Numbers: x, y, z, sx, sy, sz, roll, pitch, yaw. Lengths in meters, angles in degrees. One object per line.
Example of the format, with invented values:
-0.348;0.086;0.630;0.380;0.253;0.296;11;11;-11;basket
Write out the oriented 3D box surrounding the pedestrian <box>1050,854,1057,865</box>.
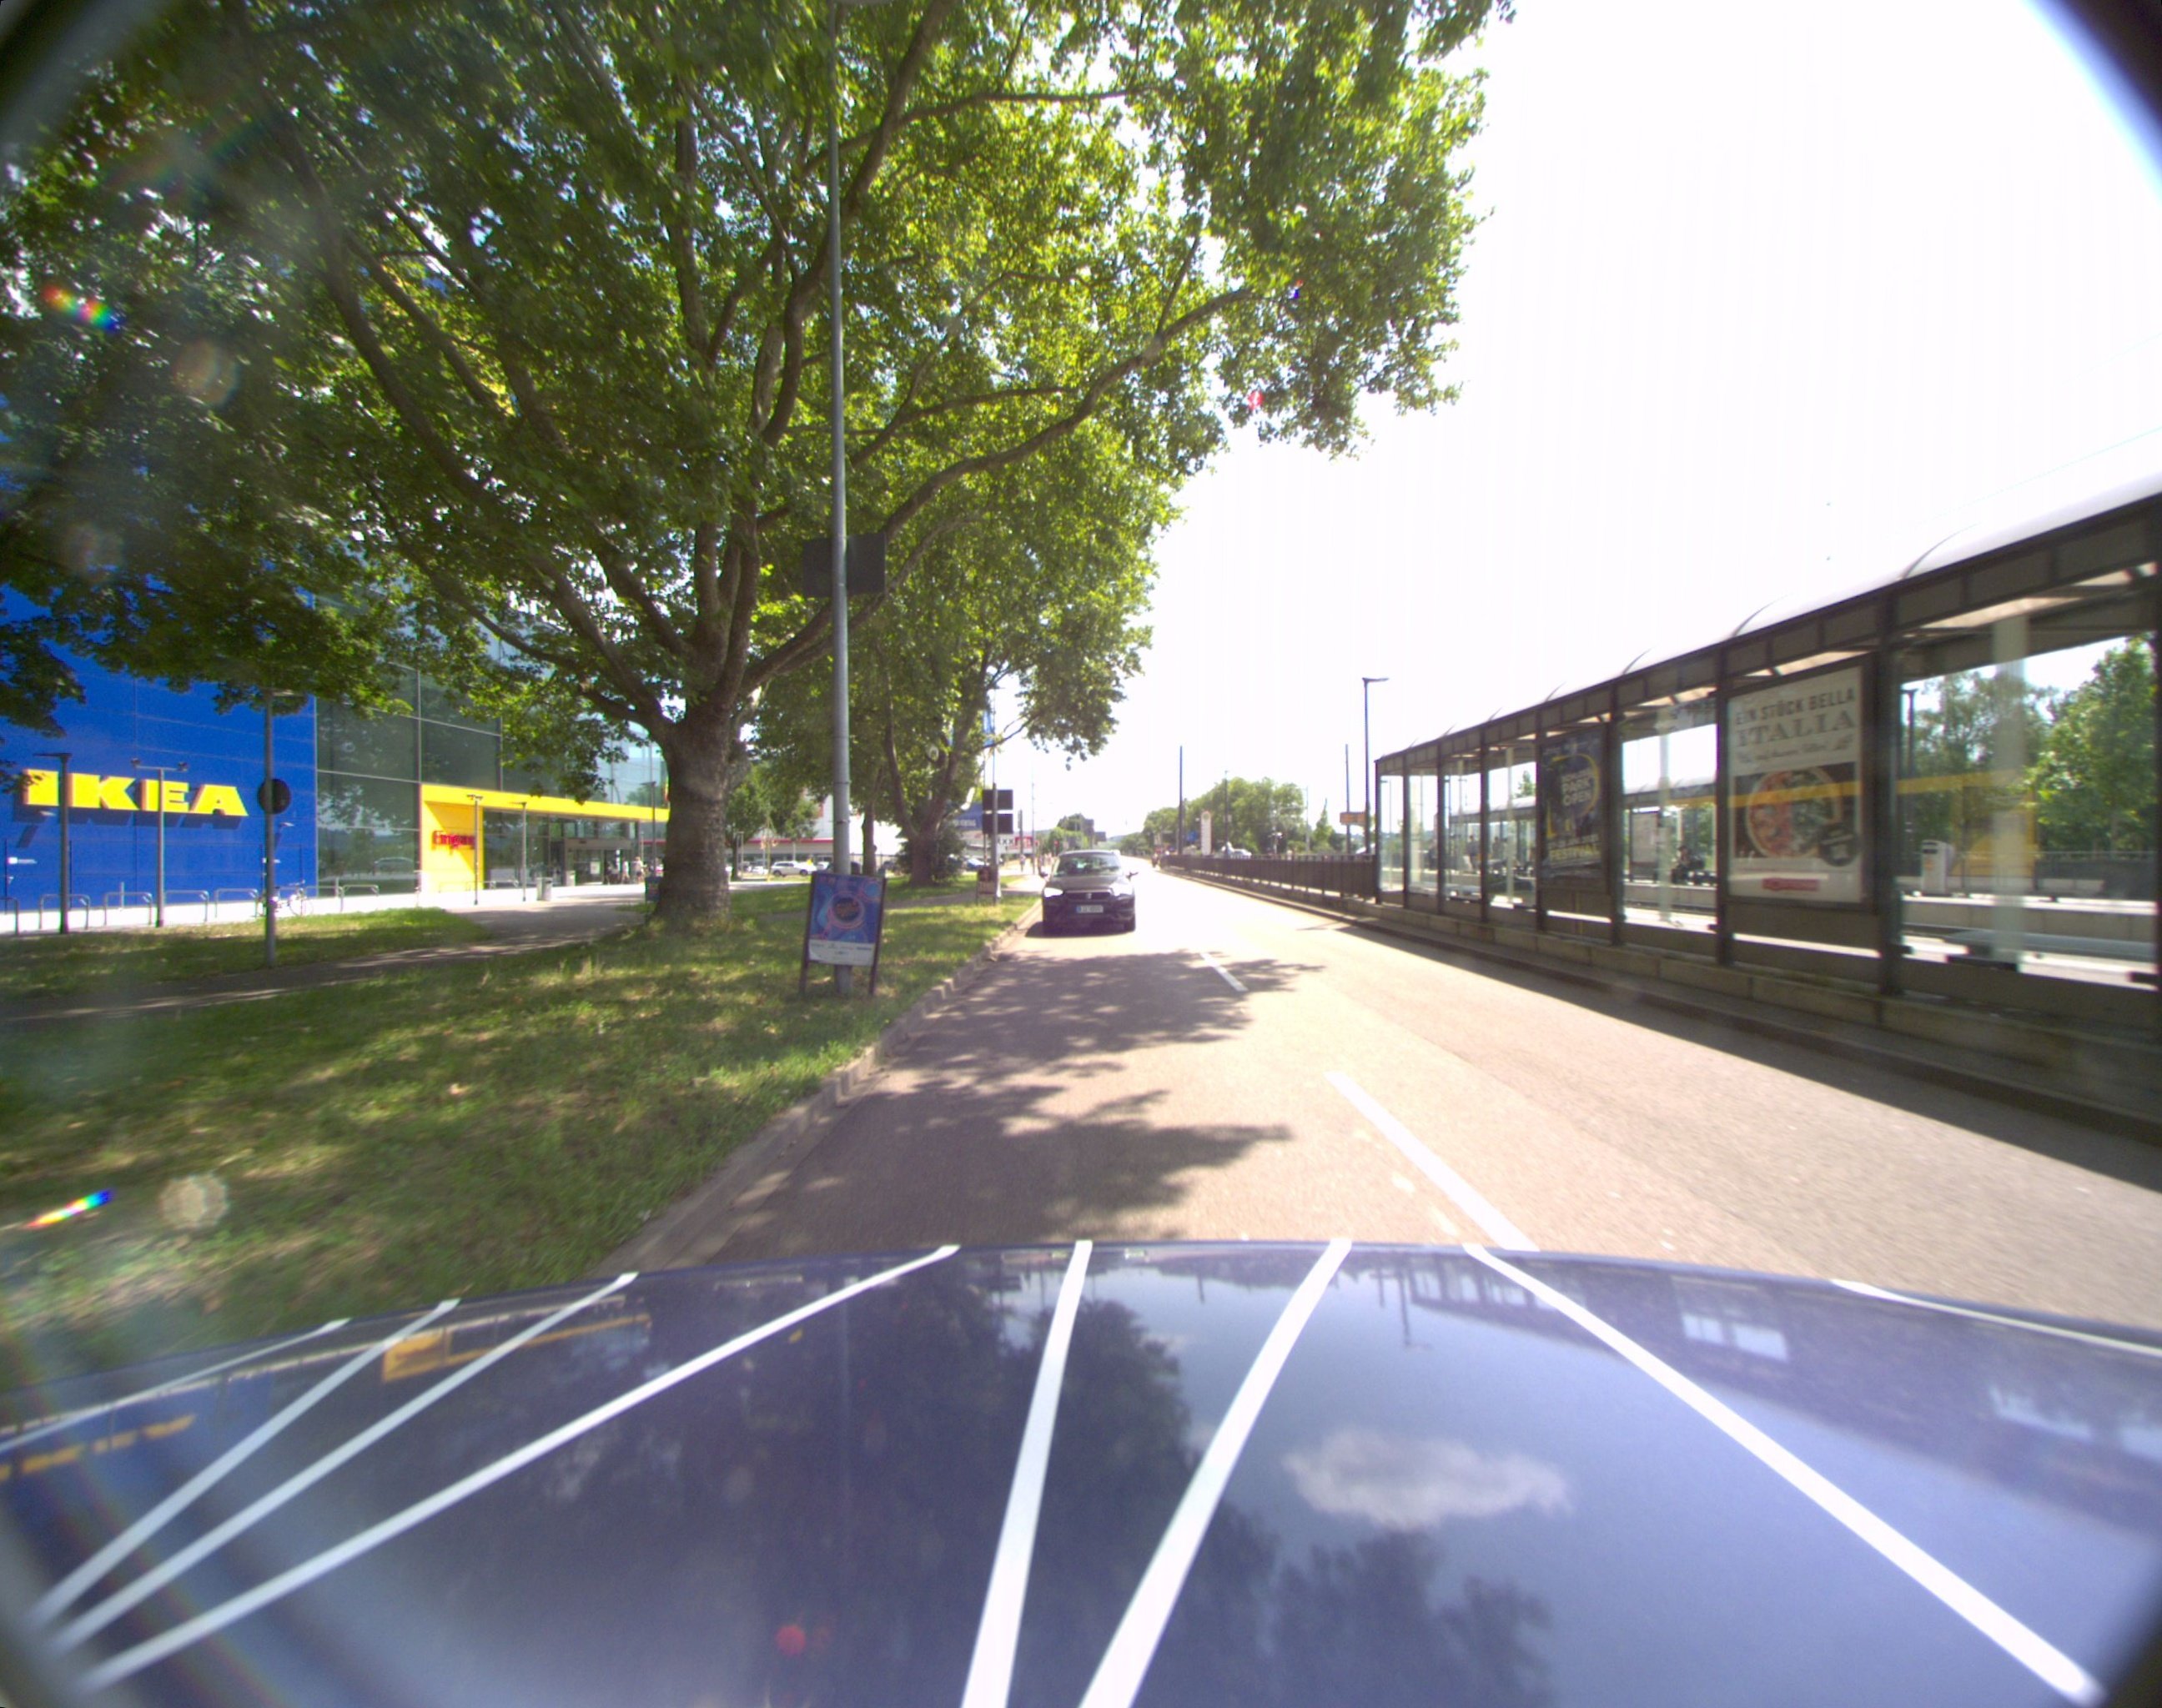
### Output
-3.589;0.721;98.571;0.592;1.467;0.804;-1;1;-26;pedestrian

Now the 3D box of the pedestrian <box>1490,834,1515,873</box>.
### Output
18.092;-0.030;32.593;0.826;1.629;0.579;0;1;39;pedestrian

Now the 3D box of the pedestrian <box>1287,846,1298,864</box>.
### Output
19.439;0.083;69.987;0.763;1.662;0.764;-1;1;-1;pedestrian

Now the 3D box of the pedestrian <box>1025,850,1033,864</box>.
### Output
-7.101;0.397;103.683;0.805;1.854;0.798;-2;1;6;pedestrian

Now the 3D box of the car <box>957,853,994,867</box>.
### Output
-11.459;0.646;82.678;3.834;1.389;1.803;-1;0;-1;car

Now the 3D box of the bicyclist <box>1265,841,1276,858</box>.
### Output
18.334;-0.427;73.523;0.666;1.606;0.732;-2;1;-14;bicyclist

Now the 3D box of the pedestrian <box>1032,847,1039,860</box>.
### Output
-6.215;-0.064;103.954;0.807;1.749;0.796;-1;1;-19;pedestrian

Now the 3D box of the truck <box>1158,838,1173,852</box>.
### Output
25.204;-2.643;227.559;3.134;4.016;7.472;-2;1;-3;truck

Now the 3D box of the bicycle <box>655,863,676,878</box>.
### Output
-33.318;1.306;60.966;0.803;1.192;2.430;0;0;-12;bicycle

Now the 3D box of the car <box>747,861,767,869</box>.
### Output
-59.624;2.027;139.921;1.693;1.302;4.000;-2;1;3;car

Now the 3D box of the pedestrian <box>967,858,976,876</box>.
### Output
-10.226;1.184;70.831;0.607;1.628;0.864;-2;2;5;pedestrian

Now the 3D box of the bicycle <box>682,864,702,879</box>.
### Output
-30.808;1.380;60.239;0.803;1.138;2.430;-1;0;-12;bicycle

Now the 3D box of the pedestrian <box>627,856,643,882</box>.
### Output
-29.663;0.985;50.578;0.607;1.662;0.587;-2;1;11;pedestrian

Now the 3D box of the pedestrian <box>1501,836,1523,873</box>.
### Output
18.050;0.037;31.824;0.578;1.524;0.639;-1;1;2;pedestrian

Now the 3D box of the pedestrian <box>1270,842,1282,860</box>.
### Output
18.562;-0.280;72.271;0.959;1.601;0.764;-1;1;-1;pedestrian

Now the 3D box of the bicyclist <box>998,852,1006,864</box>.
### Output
-11.097;0.607;106.776;0.797;1.691;0.817;0;1;17;bicyclist

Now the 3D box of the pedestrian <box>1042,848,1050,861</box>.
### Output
-4.452;0.086;97.199;0.785;1.663;0.945;-1;1;-20;pedestrian

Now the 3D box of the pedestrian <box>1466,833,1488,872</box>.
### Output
17.738;-0.083;34.046;0.736;1.719;0.579;0;1;39;pedestrian

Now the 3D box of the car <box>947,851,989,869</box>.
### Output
-11.809;0.625;79.579;3.996;1.547;2.000;-2;2;3;car

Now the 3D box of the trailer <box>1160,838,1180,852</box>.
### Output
25.608;-2.477;219.631;3.123;3.848;15.476;-1;0;-3;trailer

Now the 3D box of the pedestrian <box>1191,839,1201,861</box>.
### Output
8.953;-0.310;59.137;0.615;1.671;0.720;-2;1;0;pedestrian

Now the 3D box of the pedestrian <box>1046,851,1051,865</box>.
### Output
-3.666;0.496;85.811;0.528;1.571;0.612;-2;1;6;pedestrian

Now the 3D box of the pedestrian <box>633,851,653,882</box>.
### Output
-28.933;0.818;50.182;0.798;2.002;0.733;-1;1;10;pedestrian

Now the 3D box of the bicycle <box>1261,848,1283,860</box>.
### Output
18.500;-0.027;73.554;1.979;1.094;0.763;-2;1;-14;bicycle

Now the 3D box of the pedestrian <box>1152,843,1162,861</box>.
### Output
7.047;-0.182;70.258;0.787;1.563;0.764;-2;1;-2;pedestrian

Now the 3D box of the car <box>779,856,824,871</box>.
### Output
-30.415;1.027;82.827;4.079;1.630;2.000;-1;1;-1;car

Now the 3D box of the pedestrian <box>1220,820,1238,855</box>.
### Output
7.335;-0.811;37.648;0.734;1.656;0.742;-1;1;1;pedestrian

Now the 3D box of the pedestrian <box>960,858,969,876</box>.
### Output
-10.886;1.210;70.882;0.603;1.628;0.864;-2;2;5;pedestrian

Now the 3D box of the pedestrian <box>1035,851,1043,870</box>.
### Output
-3.819;0.586;69.229;0.725;1.673;0.625;-2;1;-2;pedestrian

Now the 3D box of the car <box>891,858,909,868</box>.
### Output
-33.072;1.645;138.955;1.998;1.707;4.503;-2;1;4;car

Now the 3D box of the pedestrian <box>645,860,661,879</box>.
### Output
-36.045;1.300;63.965;0.920;1.577;0.633;-1;1;-4;pedestrian

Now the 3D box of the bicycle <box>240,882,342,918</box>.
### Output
-23.663;1.376;22.785;2.065;0.963;0.868;-1;1;-2;bicycle

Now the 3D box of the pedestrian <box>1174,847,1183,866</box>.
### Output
8.795;0.224;68.583;0.734;1.663;0.678;-1;1;-2;pedestrian

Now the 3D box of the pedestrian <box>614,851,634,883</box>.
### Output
-29.798;0.842;49.535;0.798;2.002;0.733;-1;1;14;pedestrian

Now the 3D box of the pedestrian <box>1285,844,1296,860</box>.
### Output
19.650;-0.177;71.158;0.763;1.539;0.764;-1;1;-1;pedestrian

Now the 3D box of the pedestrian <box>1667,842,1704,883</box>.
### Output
17.778;0.246;22.344;0.578;1.183;0.639;-1;1;2;pedestrian

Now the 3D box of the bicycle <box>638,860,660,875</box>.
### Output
-34.595;1.071;60.855;0.803;1.192;2.430;-1;0;-12;bicycle

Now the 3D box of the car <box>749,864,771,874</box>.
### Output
-52.304;2.420;123.856;1.853;1.537;3.999;-1;1;-2;car

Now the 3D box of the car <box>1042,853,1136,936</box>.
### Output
0.151;0.794;16.886;1.820;1.583;3.999;-1;1;0;car

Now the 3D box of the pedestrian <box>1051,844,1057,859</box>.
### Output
-3.072;-0.273;85.887;0.528;1.656;0.640;-2;1;6;pedestrian

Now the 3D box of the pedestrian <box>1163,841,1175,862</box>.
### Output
7.625;-0.215;65.922;0.865;1.792;0.883;-2;1;-2;pedestrian

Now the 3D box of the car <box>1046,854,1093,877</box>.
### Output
-0.825;0.769;50.729;1.734;1.410;4.314;-3;1;-20;car

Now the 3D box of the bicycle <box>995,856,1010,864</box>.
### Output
-10.994;0.875;106.742;1.875;1.155;0.833;-1;1;18;bicycle

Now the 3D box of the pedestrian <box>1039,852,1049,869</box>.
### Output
-3.402;0.598;70.028;0.896;1.597;0.767;-2;1;-2;pedestrian
